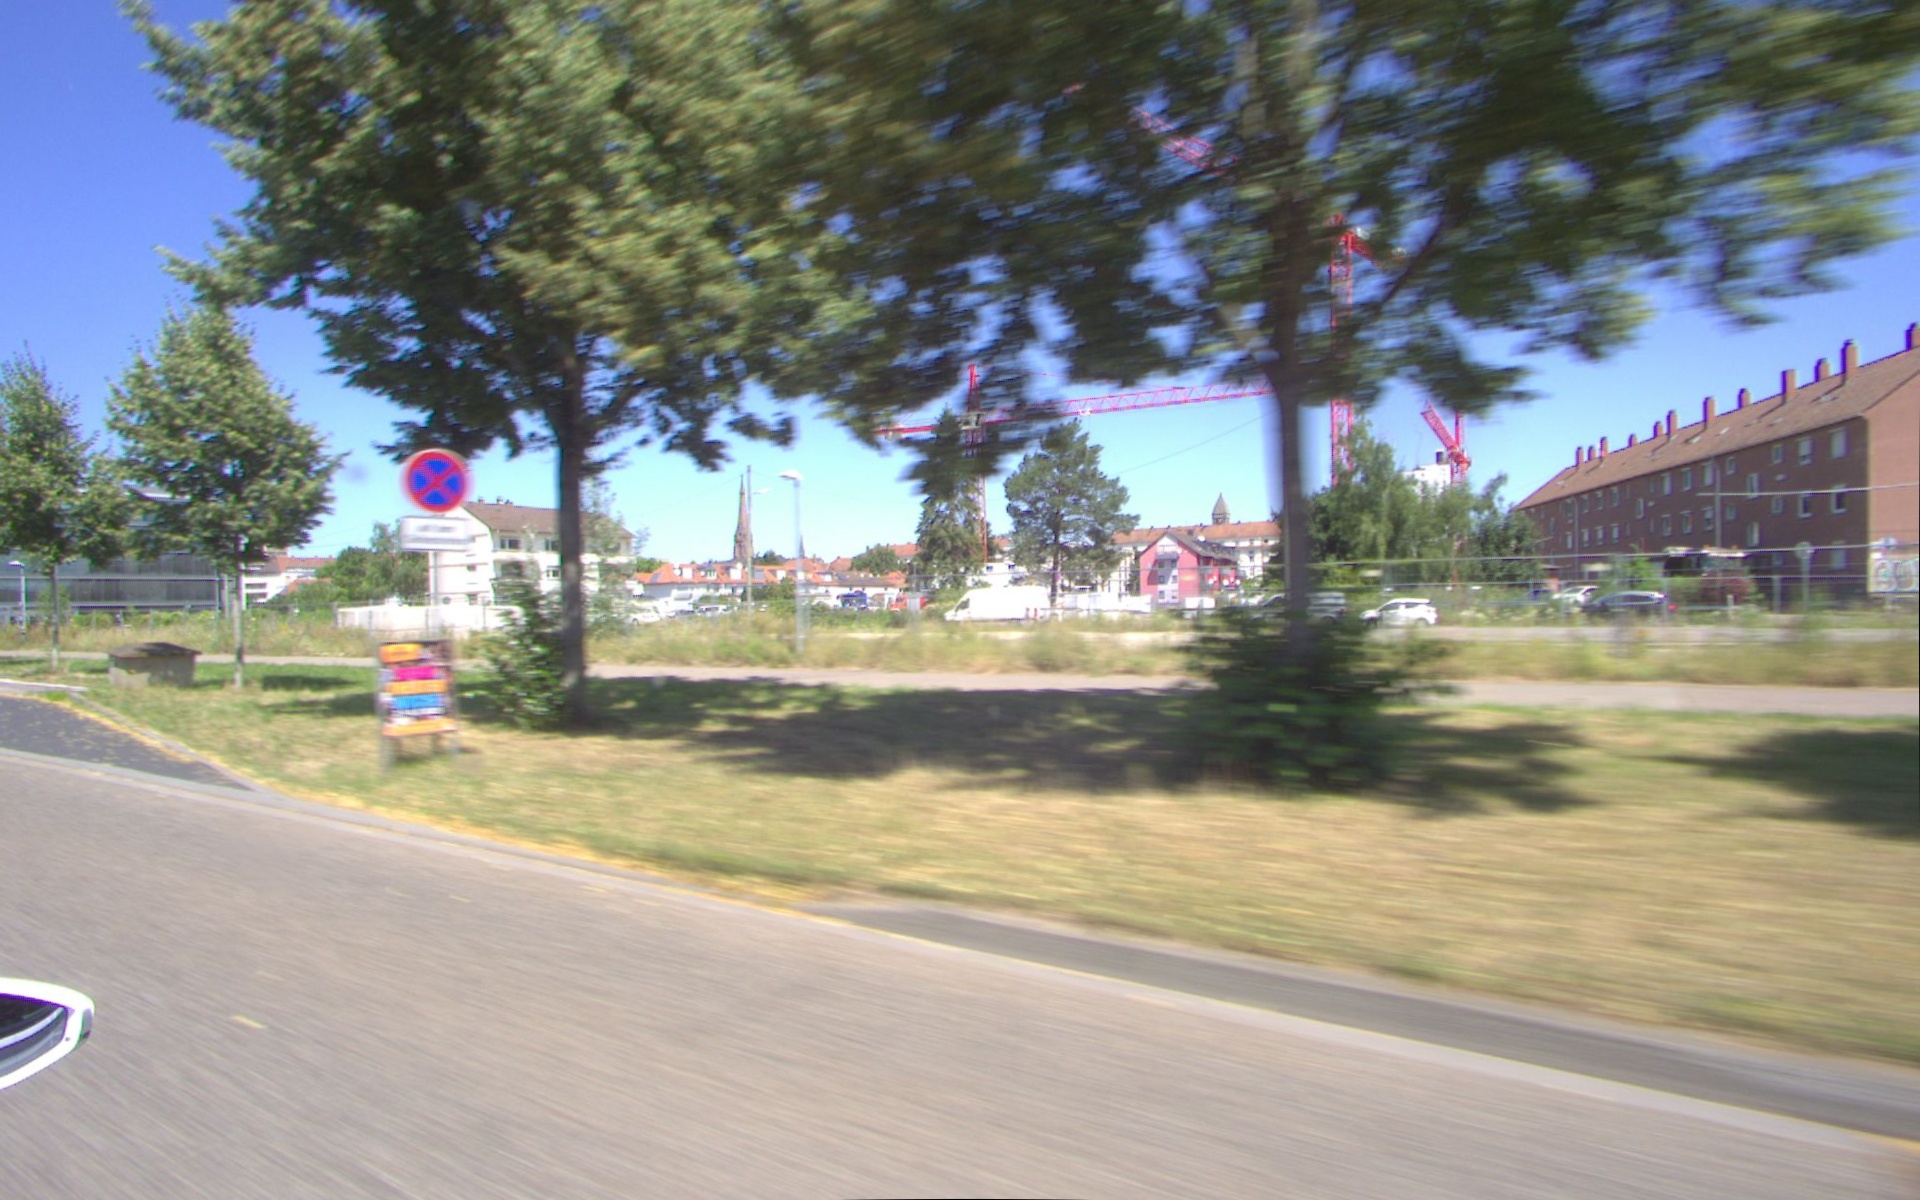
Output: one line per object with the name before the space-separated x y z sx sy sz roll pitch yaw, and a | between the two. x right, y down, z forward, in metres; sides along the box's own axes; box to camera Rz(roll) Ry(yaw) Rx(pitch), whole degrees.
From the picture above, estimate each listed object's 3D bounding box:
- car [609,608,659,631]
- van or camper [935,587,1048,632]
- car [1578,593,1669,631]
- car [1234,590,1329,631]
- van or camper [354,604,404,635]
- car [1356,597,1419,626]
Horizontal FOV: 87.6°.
car | -25.411 1.542 77.942 3.568 1.607 1.672 -3 0 30
van or camper | 1.882 0.620 61.898 6.899 2.636 1.921 -1 0 30
car | 29.944 0.555 45.276 3.370 1.635 1.363 -1 0 33
car | 17.132 0.576 53.392 4.606 2.040 1.779 -1 0 25
van or camper | -54.828 1.865 94.519 4.591 2.838 1.992 -1 0 28
car | 21.654 0.589 50.765 2.750 1.425 1.411 -1 2 32
